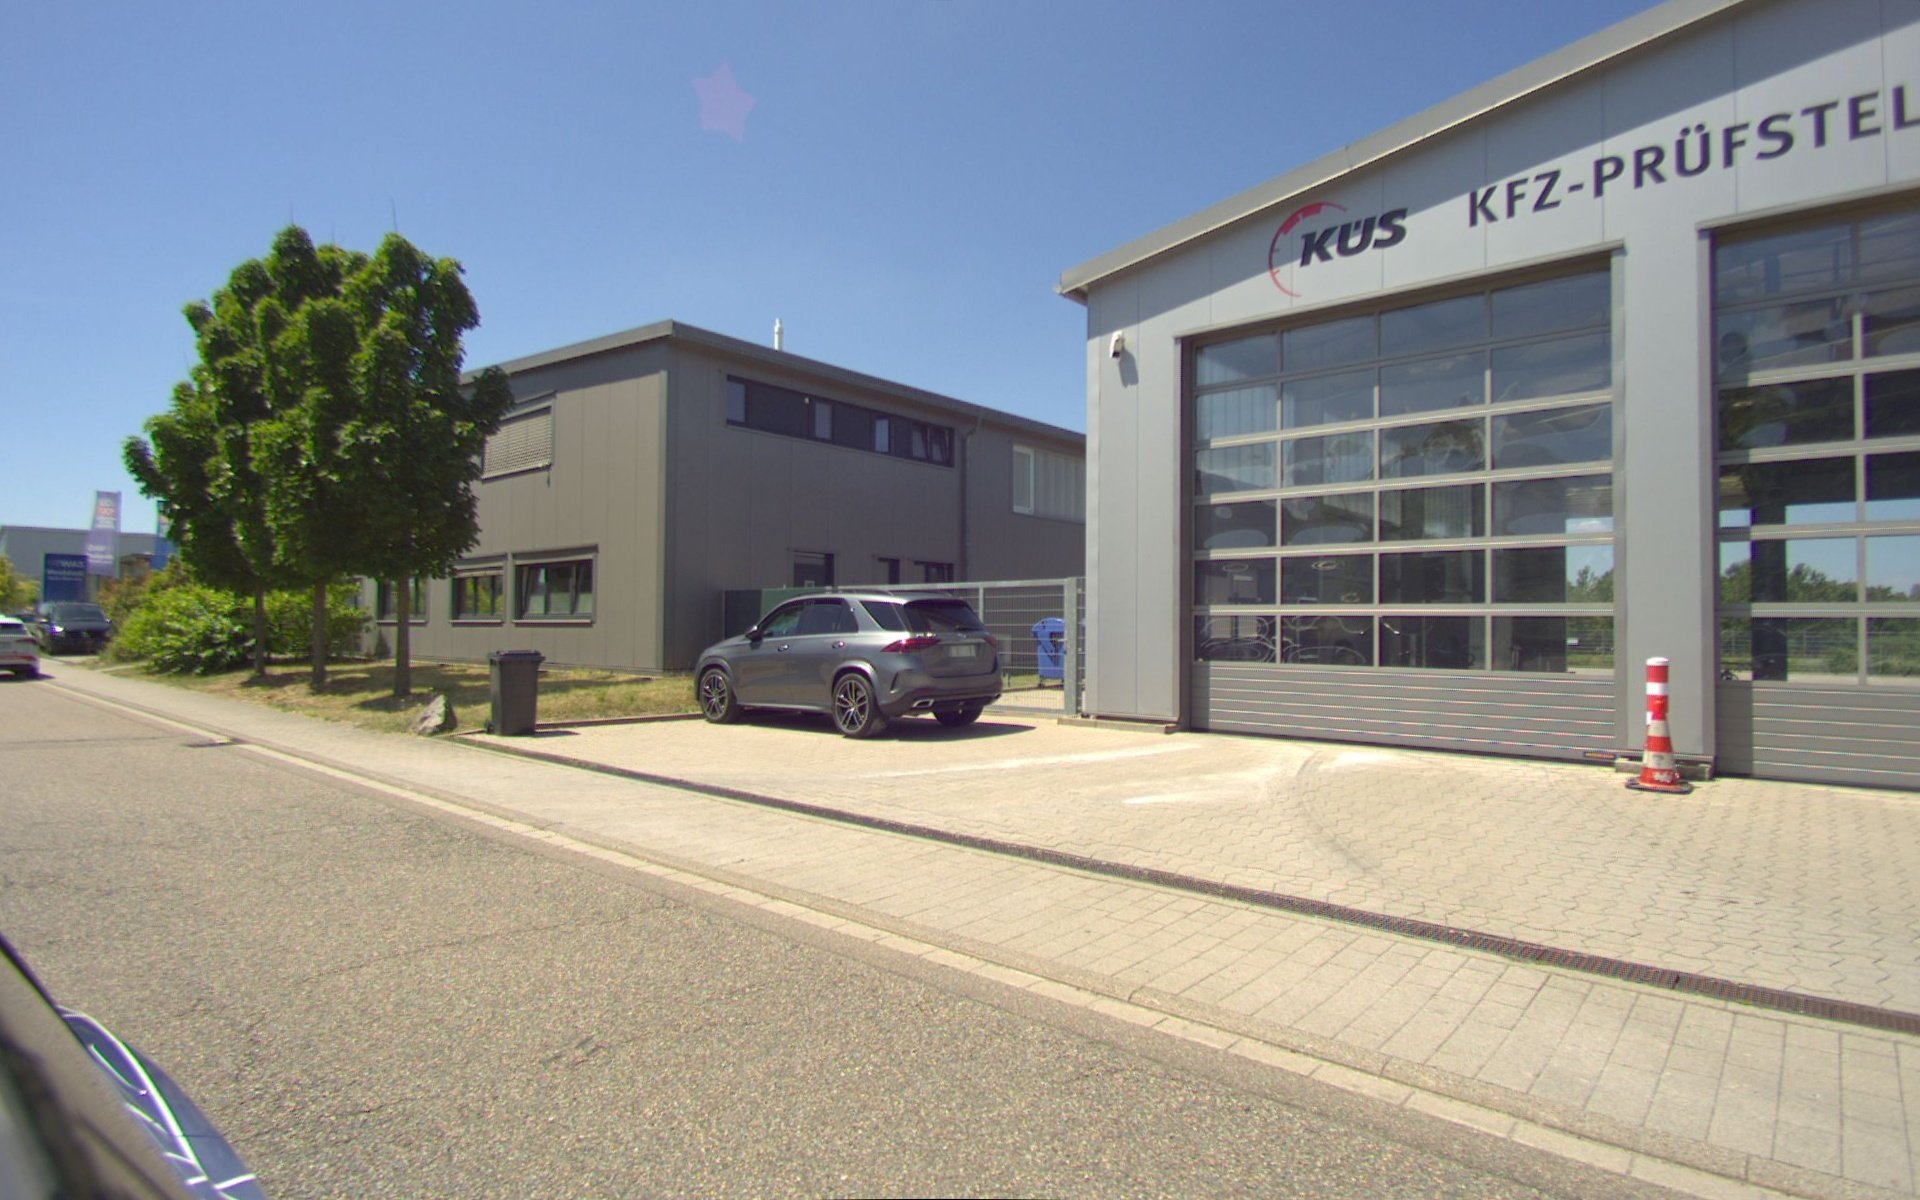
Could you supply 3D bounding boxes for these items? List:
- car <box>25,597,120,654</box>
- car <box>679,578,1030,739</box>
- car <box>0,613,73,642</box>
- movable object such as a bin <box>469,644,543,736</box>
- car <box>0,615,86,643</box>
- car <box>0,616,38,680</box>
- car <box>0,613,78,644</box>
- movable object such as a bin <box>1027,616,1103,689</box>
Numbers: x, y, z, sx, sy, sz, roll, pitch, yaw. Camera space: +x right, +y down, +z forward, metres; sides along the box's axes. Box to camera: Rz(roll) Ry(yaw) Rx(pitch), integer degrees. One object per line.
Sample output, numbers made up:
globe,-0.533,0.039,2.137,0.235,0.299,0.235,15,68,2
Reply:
car,-33.112,0.931,37.698,5.215,1.971,1.973,-1,-2,41
car,-1.583,0.702,13.449,4.915,1.749,1.971,-2,-2,45
car,-50.382,1.473,54.084,1.864,1.529,4.219,-1,-2,40
movable object such as a bin,-5.683,1.106,12.671,0.765,1.074,0.573,-1,0,41
car,-48.214,1.492,52.393,1.846,1.442,4.262,-1,-2,42
car,-23.893,1.113,24.568,4.489,1.469,1.712,-1,-2,41
car,-46.424,1.426,51.013,1.534,1.529,2.713,-1,-2,40
movable object such as a bin,2.142,1.051,20.591,1.148,1.426,1.012,-2,-2,38
